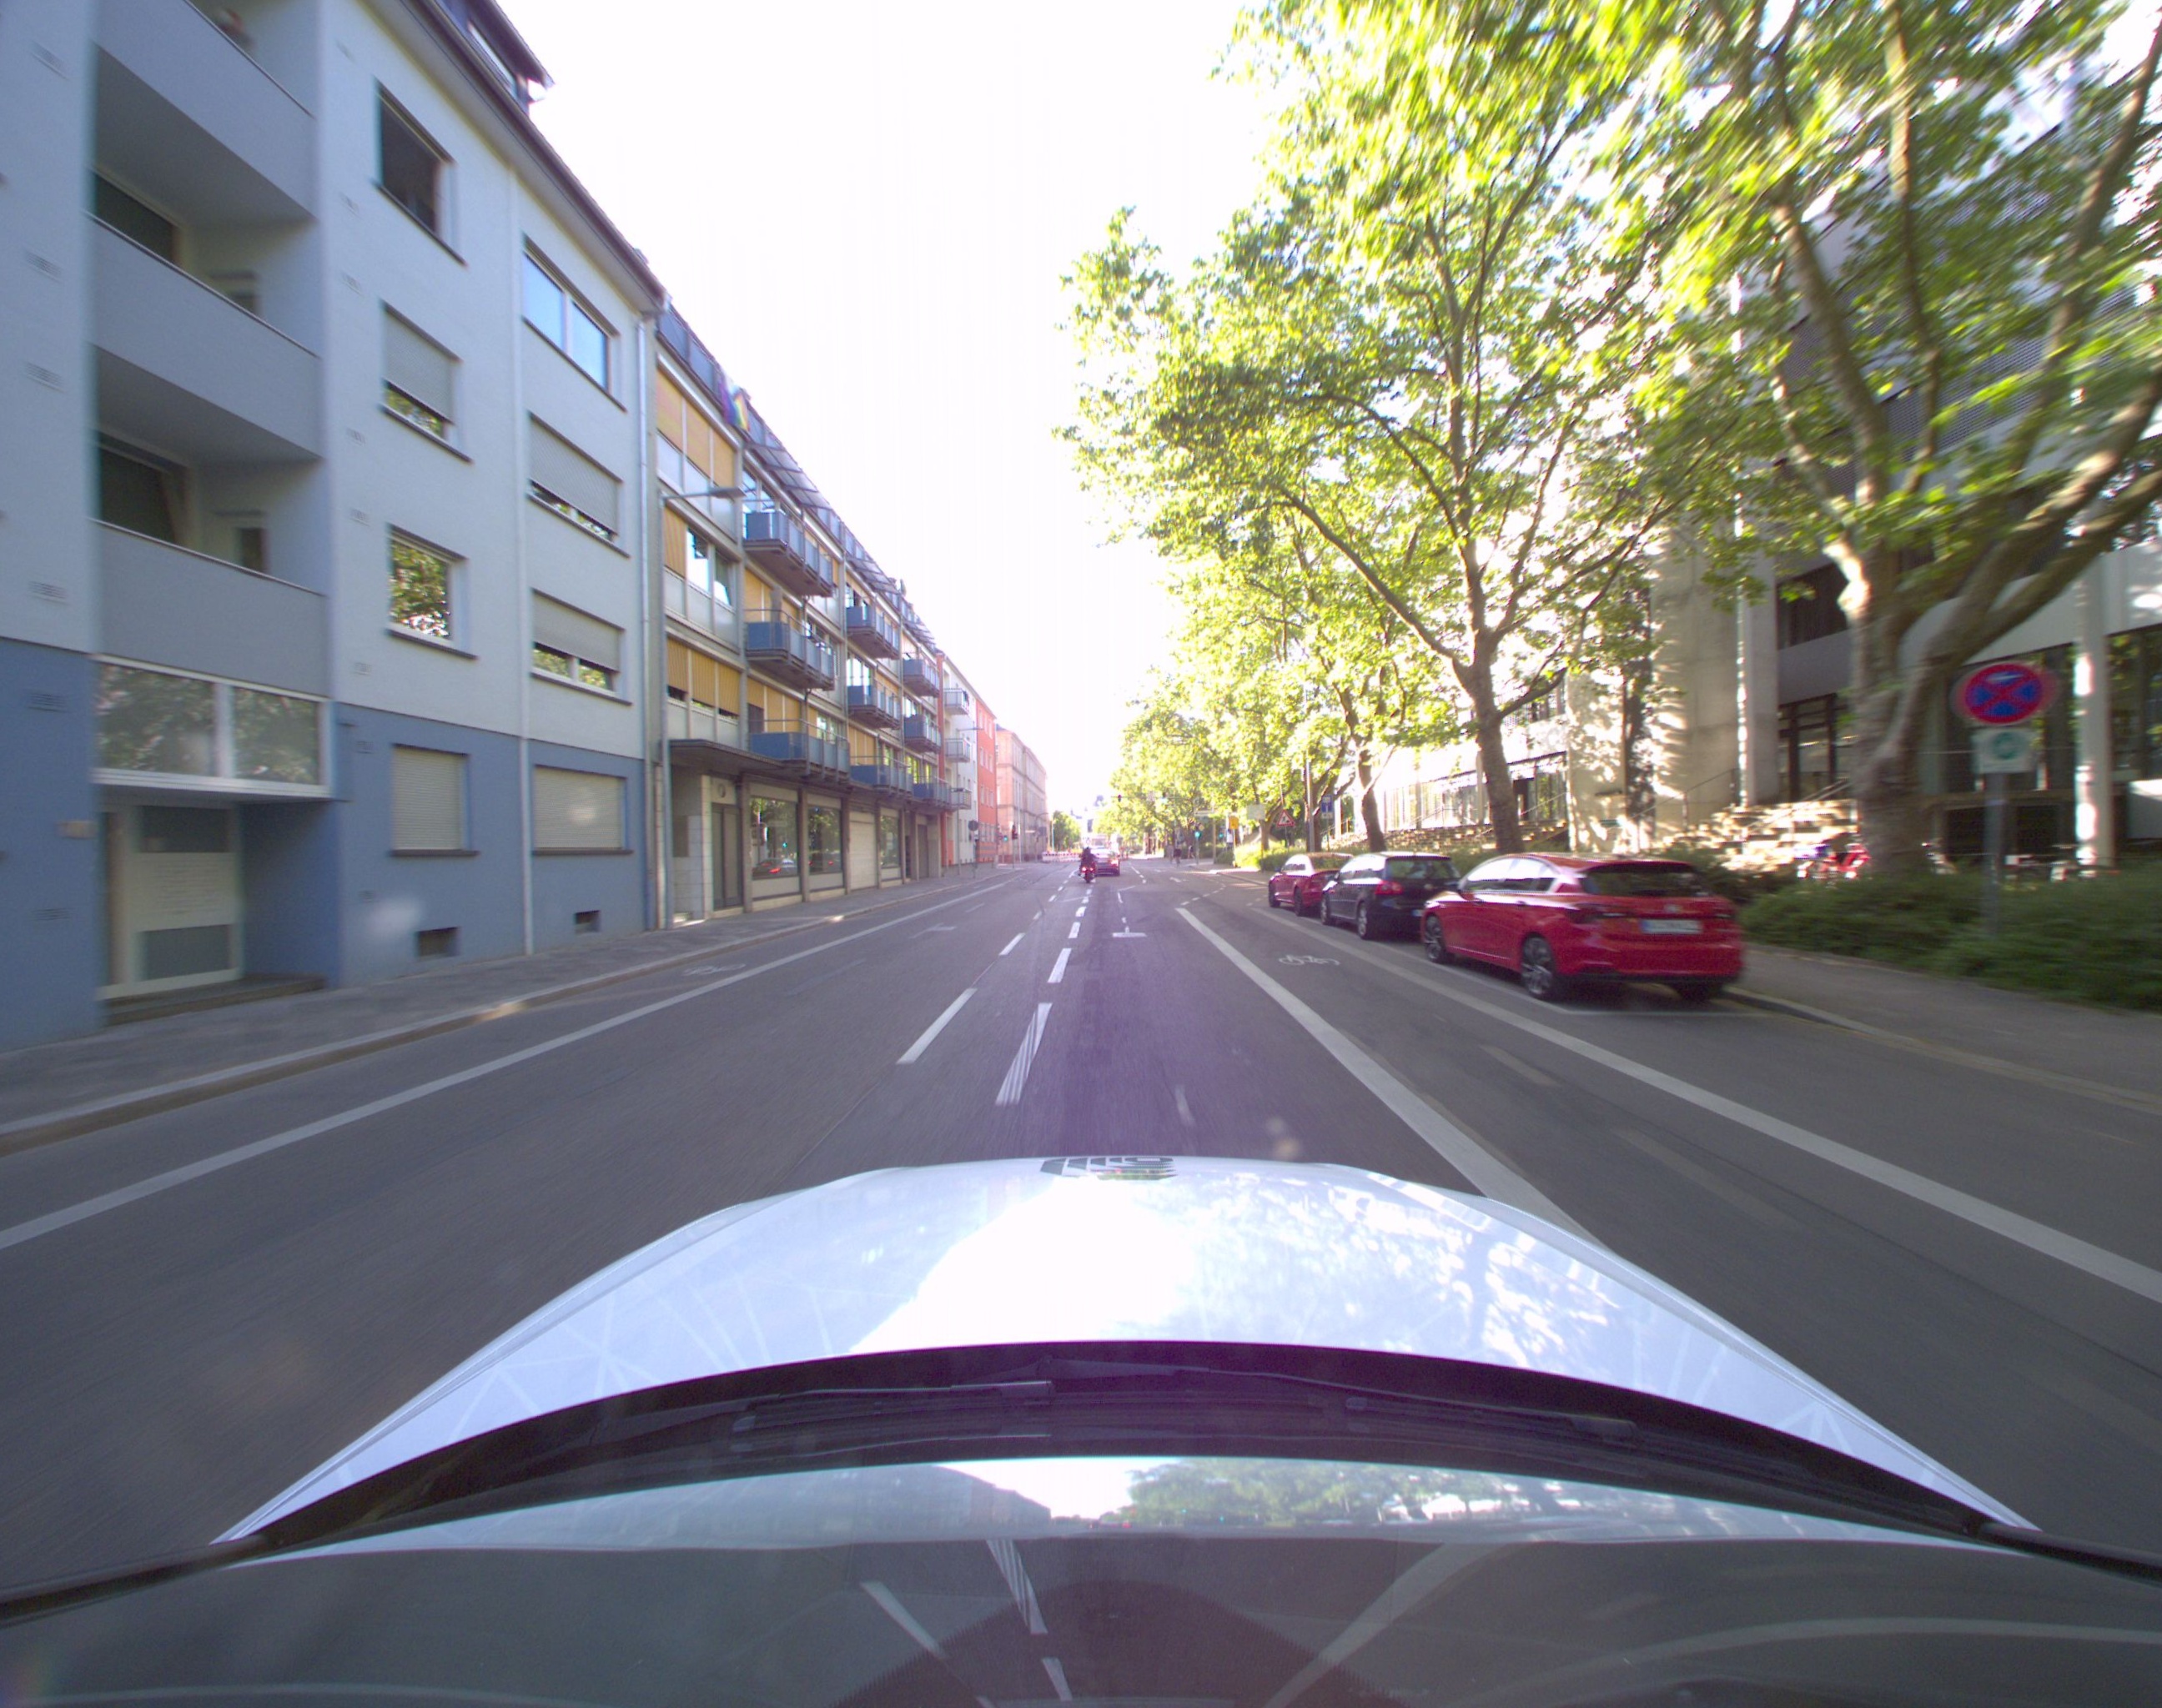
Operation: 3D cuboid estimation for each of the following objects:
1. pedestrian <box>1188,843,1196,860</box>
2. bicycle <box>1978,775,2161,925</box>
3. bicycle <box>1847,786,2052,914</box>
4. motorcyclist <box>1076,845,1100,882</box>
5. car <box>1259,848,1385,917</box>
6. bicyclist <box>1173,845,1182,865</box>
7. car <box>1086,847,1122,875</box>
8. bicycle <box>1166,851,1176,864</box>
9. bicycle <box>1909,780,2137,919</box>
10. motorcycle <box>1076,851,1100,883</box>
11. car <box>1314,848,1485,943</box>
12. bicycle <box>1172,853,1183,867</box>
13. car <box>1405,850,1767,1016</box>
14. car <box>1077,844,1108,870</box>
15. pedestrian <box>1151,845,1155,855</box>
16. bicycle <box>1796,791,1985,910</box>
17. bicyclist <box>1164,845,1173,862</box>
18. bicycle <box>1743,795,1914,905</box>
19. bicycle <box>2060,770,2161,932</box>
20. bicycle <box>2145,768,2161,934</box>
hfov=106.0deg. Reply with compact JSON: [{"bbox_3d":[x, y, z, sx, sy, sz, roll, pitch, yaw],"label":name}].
[{"bbox_3d":[11.925,-0.243,87.702,0.575,1.774,0.619,0,0,-36],"label":"pedestrian"},{"bbox_3d":[14.438,-0.069,11.535,2.588,2.013,0.743,-2,0,1],"label":"bicycle"},{"bbox_3d":[14.498,-0.071,13.638,2.588,2.013,0.743,-2,0,1],"label":"bicycle"},{"bbox_3d":[0.310,0.401,35.855,1.008,1.602,1.406,-2,0,1],"label":"motorcyclist"},{"bbox_3d":[5.627,0.595,19.575,1.688,1.449,4.435,1,0,-1],"label":"car"},{"bbox_3d":[7.348,0.095,62.077,0.654,1.530,0.852,0,0,1],"label":"bicyclist"},{"bbox_3d":[1.228,0.344,43.957,1.822,1.420,3.816,-1,0,1],"label":"car"},{"bbox_3d":[7.791,0.316,70.672,0.654,1.111,2.186,0,0,1],"label":"bicycle"},{"bbox_3d":[14.467,-0.070,12.552,2.588,2.013,0.743,-2,0,1],"label":"bicycle"},{"bbox_3d":[0.327,0.532,35.850,1.008,1.306,2.673,-2,0,1],"label":"motorcycle"},{"bbox_3d":[5.560,0.631,14.771,1.686,1.466,4.068,1,0,3],"label":"car"},{"bbox_3d":[7.362,0.429,62.124,0.654,1.070,1.927,0,0,1],"label":"bicycle"},{"bbox_3d":[5.466,0.711,9.589,1.686,1.479,4.320,1,0,2],"label":"car"},{"bbox_3d":[0.711,0.187,52.080,1.627,1.650,3.845,0,0,-4],"label":"car"},{"bbox_3d":[11.507,-0.693,129.873,0.590,1.578,0.527,0,0,1],"label":"pedestrian"},{"bbox_3d":[14.502,-0.071,14.633,2.588,2.013,0.743,-2,0,1],"label":"bicycle"},{"bbox_3d":[7.616,-0.043,70.730,0.654,1.530,0.906,0,0,1],"label":"bicyclist"},{"bbox_3d":[14.465,-0.072,15.802,2.588,2.013,0.743,-2,0,1],"label":"bicycle"},{"bbox_3d":[14.431,-0.069,10.528,2.588,2.013,0.743,-2,0,1],"label":"bicycle"},{"bbox_3d":[14.397,-0.068,9.628,2.588,2.013,0.743,-2,0,1],"label":"bicycle"}]
